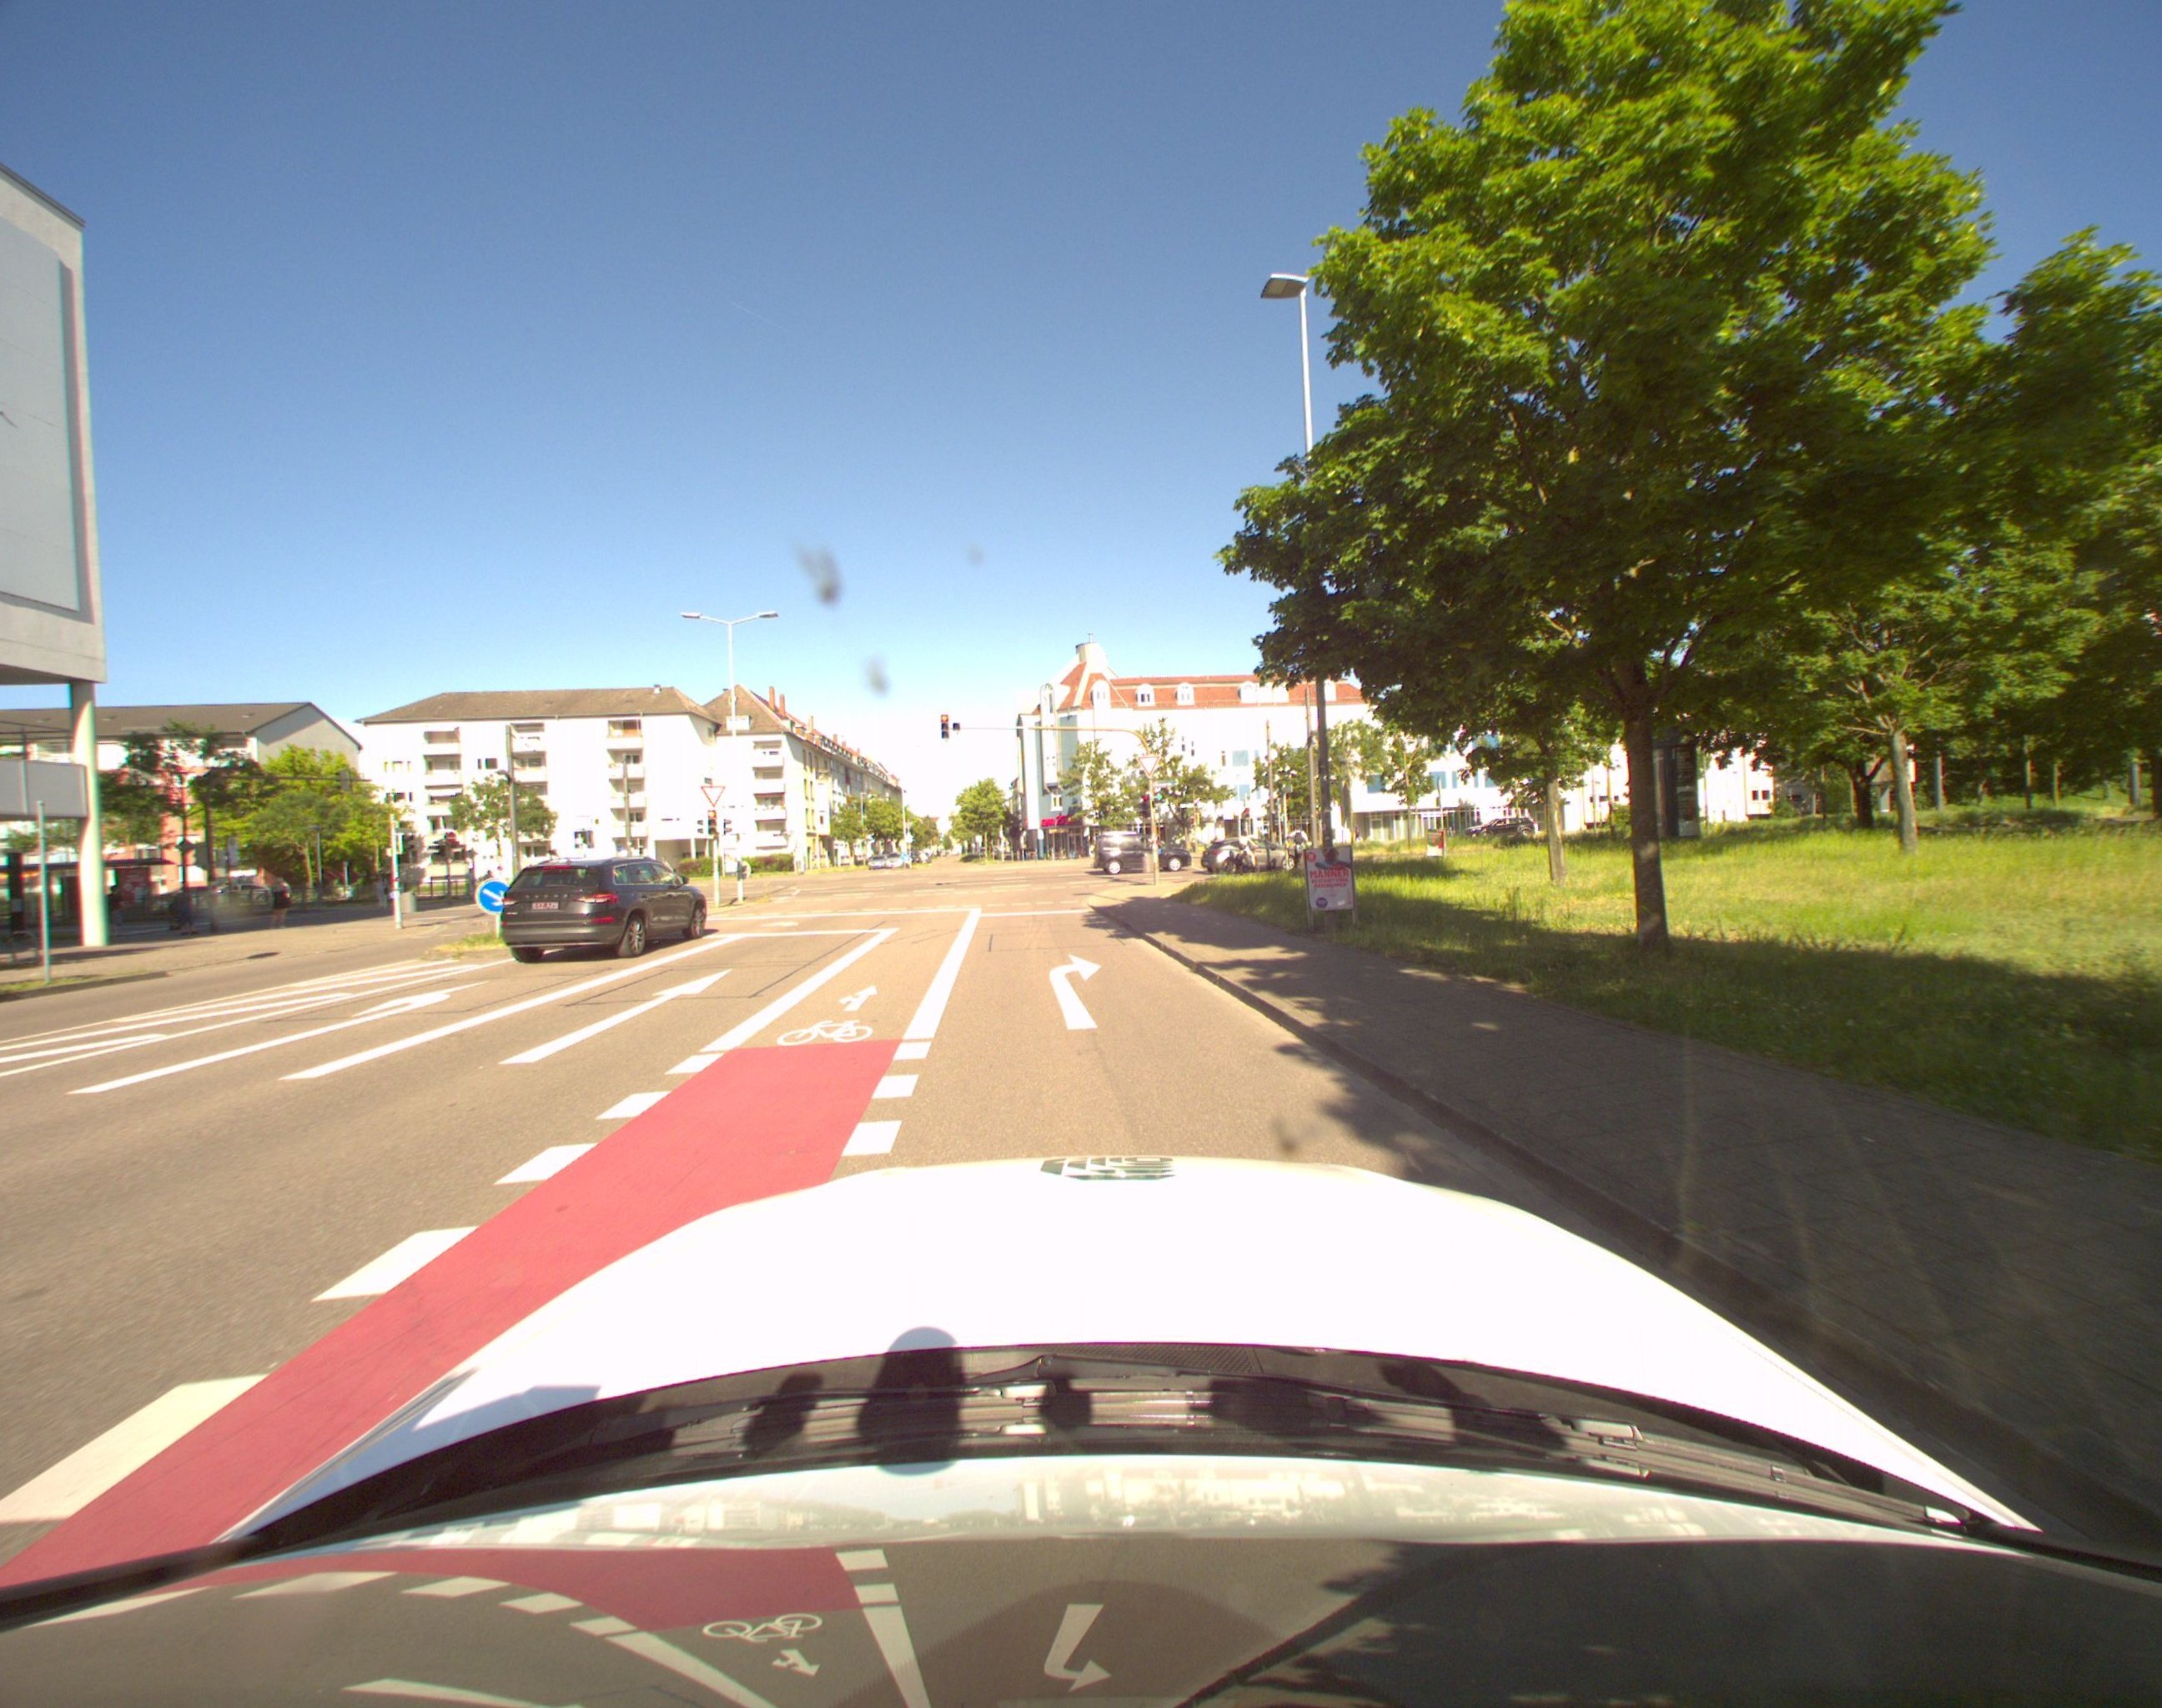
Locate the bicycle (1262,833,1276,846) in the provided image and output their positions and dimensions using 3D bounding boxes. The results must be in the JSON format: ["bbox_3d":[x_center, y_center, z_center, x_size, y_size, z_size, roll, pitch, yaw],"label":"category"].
[{"bbox_3d":[17.695,-1.316,76.678,0.560,1.182,1.865,-3,1,-7],"label":"bicycle"}]

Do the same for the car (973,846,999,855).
[{"bbox_3d":[-13.827,-0.506,118.773,3.570,1.223,1.723,-2,0,-13],"label":"car"}]

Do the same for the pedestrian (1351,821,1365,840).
[{"bbox_3d":[26.032,-2.215,76.588,0.989,1.723,0.652,-3,1,-7],"label":"pedestrian"}]

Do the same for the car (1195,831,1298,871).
[{"bbox_3d":[6.858,-0.117,33.836,3.865,1.577,1.685,-1,0,-15],"label":"car"}]

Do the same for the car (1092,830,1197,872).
[{"bbox_3d":[2.840,-0.149,37.021,4.480,1.800,1.759,-1,0,-9],"label":"car"}]

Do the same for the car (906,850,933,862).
[{"bbox_3d":[-29.292,0.410,147.916,4.503,2.013,1.994,-2,-1,-9],"label":"car"}]

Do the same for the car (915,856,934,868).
[{"bbox_3d":[-19.792,0.990,103.206,1.684,1.432,4.394,-1,0,-3],"label":"car"}]

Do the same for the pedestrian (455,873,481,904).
[{"bbox_3d":[-35.993,2.030,47.817,1.139,1.726,0.818,-3,1,36],"label":"pedestrian"}]

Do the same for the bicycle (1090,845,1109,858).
[{"bbox_3d":[1.571,-0.191,69.248,1.504,1.027,0.474,-3,1,4],"label":"bicycle"}]

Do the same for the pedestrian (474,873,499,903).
[{"bbox_3d":[-35.432,2.007,48.510,1.139,1.726,0.818,-3,1,36],"label":"pedestrian"}]

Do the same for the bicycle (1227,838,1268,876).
[{"bbox_3d":[6.489,0.090,31.641,0.782,1.347,2.092,-3,1,32],"label":"bicycle"}]

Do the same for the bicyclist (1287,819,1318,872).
[{"bbox_3d":[8.504,-0.349,31.224,0.782,1.959,1.018,-3,0,32],"label":"bicyclist"}]

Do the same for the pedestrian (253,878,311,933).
[{"bbox_3d":[-26.886,1.703,27.422,0.811,1.726,1.150,-3,1,-11],"label":"pedestrian"}]

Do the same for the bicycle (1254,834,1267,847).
[{"bbox_3d":[16.830,-1.297,76.273,0.560,1.182,1.865,-3,1,-7],"label":"bicycle"}]

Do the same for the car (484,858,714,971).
[{"bbox_3d":[-8.210,0.910,14.432,1.751,1.628,4.469,-1,0,-6],"label":"car"}]

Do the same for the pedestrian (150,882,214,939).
[{"bbox_3d":[-29.552,1.829,26.789,0.811,1.726,1.150,-3,1,-11],"label":"pedestrian"}]

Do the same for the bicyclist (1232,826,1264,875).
[{"bbox_3d":[6.501,-0.148,31.661,0.782,1.824,1.143,-3,1,32],"label":"bicyclist"}]

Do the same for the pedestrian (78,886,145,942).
[{"bbox_3d":[-31.982,1.953,26.889,0.811,1.726,1.150,-3,1,-11],"label":"pedestrian"}]

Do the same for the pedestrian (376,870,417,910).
[{"bbox_3d":[-32.037,1.674,38.123,0.921,1.770,1.150,-3,1,-11],"label":"pedestrian"}]

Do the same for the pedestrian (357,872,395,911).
[{"bbox_3d":[-33.537,1.774,38.745,0.811,1.726,1.150,-3,1,-11],"label":"pedestrian"}]

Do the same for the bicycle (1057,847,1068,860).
[{"bbox_3d":[-1.534,-0.039,66.644,0.472,1.027,1.507,-3,1,-16],"label":"bicycle"}]

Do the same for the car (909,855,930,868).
[{"bbox_3d":[-18.318,0.800,92.389,1.684,1.432,4.394,-1,0,-3],"label":"car"}]

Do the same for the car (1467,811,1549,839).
[{"bbox_3d":[29.047,-1.948,55.552,4.482,1.609,2.002,-3,1,3],"label":"car"}]

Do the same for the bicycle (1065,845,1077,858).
[{"bbox_3d":[-0.823,-0.190,67.243,0.473,1.027,1.507,-3,1,-18],"label":"bicycle"}]

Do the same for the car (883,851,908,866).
[{"bbox_3d":[-18.057,0.450,79.538,1.684,1.432,4.394,-1,0,-3],"label":"car"}]

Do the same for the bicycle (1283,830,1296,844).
[{"bbox_3d":[19.582,-1.593,76.463,0.559,1.182,1.867,-3,1,-4],"label":"bicycle"}]

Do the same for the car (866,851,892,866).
[{"bbox_3d":[-20.457,0.460,82.600,1.684,1.432,4.394,-1,0,-3],"label":"car"}]

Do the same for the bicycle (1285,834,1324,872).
[{"bbox_3d":[8.627,-0.045,31.385,0.782,1.347,2.277,-3,1,32],"label":"bicycle"}]

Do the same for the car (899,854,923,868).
[{"bbox_3d":[-18.051,0.724,86.450,1.683,1.432,4.397,-1,0,-2],"label":"car"}]

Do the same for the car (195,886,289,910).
[{"bbox_3d":[-59.955,3.095,58.256,1.672,1.432,4.428,-1,0,33],"label":"car"}]
